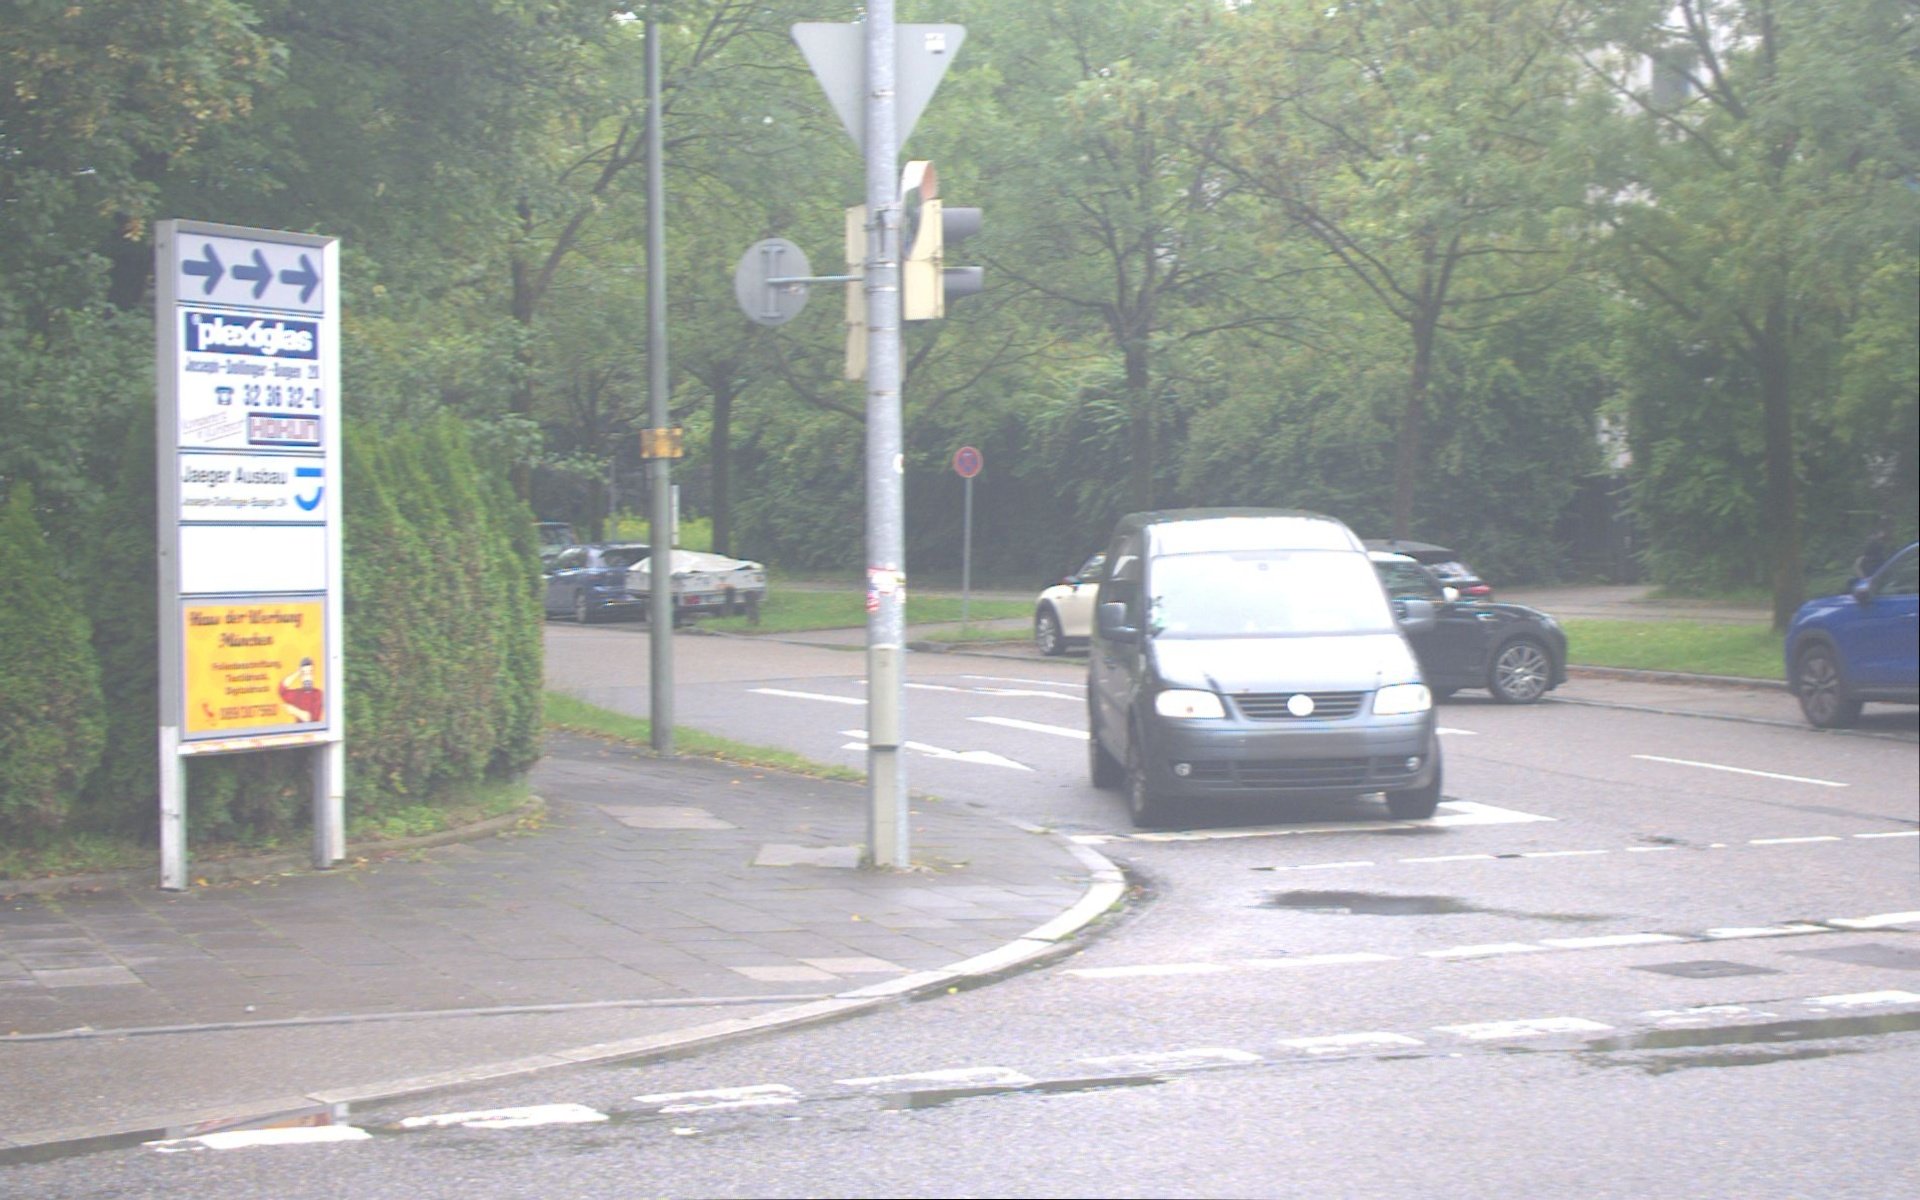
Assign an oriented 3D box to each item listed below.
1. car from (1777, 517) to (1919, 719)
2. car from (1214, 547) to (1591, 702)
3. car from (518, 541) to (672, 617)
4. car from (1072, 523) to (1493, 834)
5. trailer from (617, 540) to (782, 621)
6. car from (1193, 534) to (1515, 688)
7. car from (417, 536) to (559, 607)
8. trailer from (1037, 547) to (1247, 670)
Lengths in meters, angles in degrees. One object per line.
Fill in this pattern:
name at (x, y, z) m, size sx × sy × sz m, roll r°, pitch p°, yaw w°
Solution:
car at (8.510, 0.105, 27.386) m, size 1.993 × 1.569 × 4.284 m, roll -3°, pitch 1°, yaw -16°
car at (4.219, 0.219, 33.030) m, size 3.269 × 1.439 × 1.665 m, roll 0°, pitch 0°, yaw -8°
car at (-6.680, -0.408, 62.715) m, size 1.552 × 1.258 × 3.424 m, roll -1°, pitch 3°, yaw -30°
car at (1.867, 0.414, 21.454) m, size 1.993 × 1.717 × 4.791 m, roll 0°, pitch 1°, yaw -2°
trailer at (-4.488, -0.363, 58.888) m, size 1.552 × 1.258 × 3.424 m, roll -1°, pitch 3°, yaw -28°
car at (4.382, 0.106, 38.898) m, size 1.757 × 1.569 × 4.166 m, roll -3°, pitch 1°, yaw -22°
car at (-9.223, -0.578, 67.028) m, size 1.552 × 1.258 × 3.424 m, roll -1°, pitch 3°, yaw -30°
trailer at (2.288, 0.076, 43.921) m, size 1.446 × 1.409 × 3.343 m, roll -1°, pitch 2°, yaw -21°
